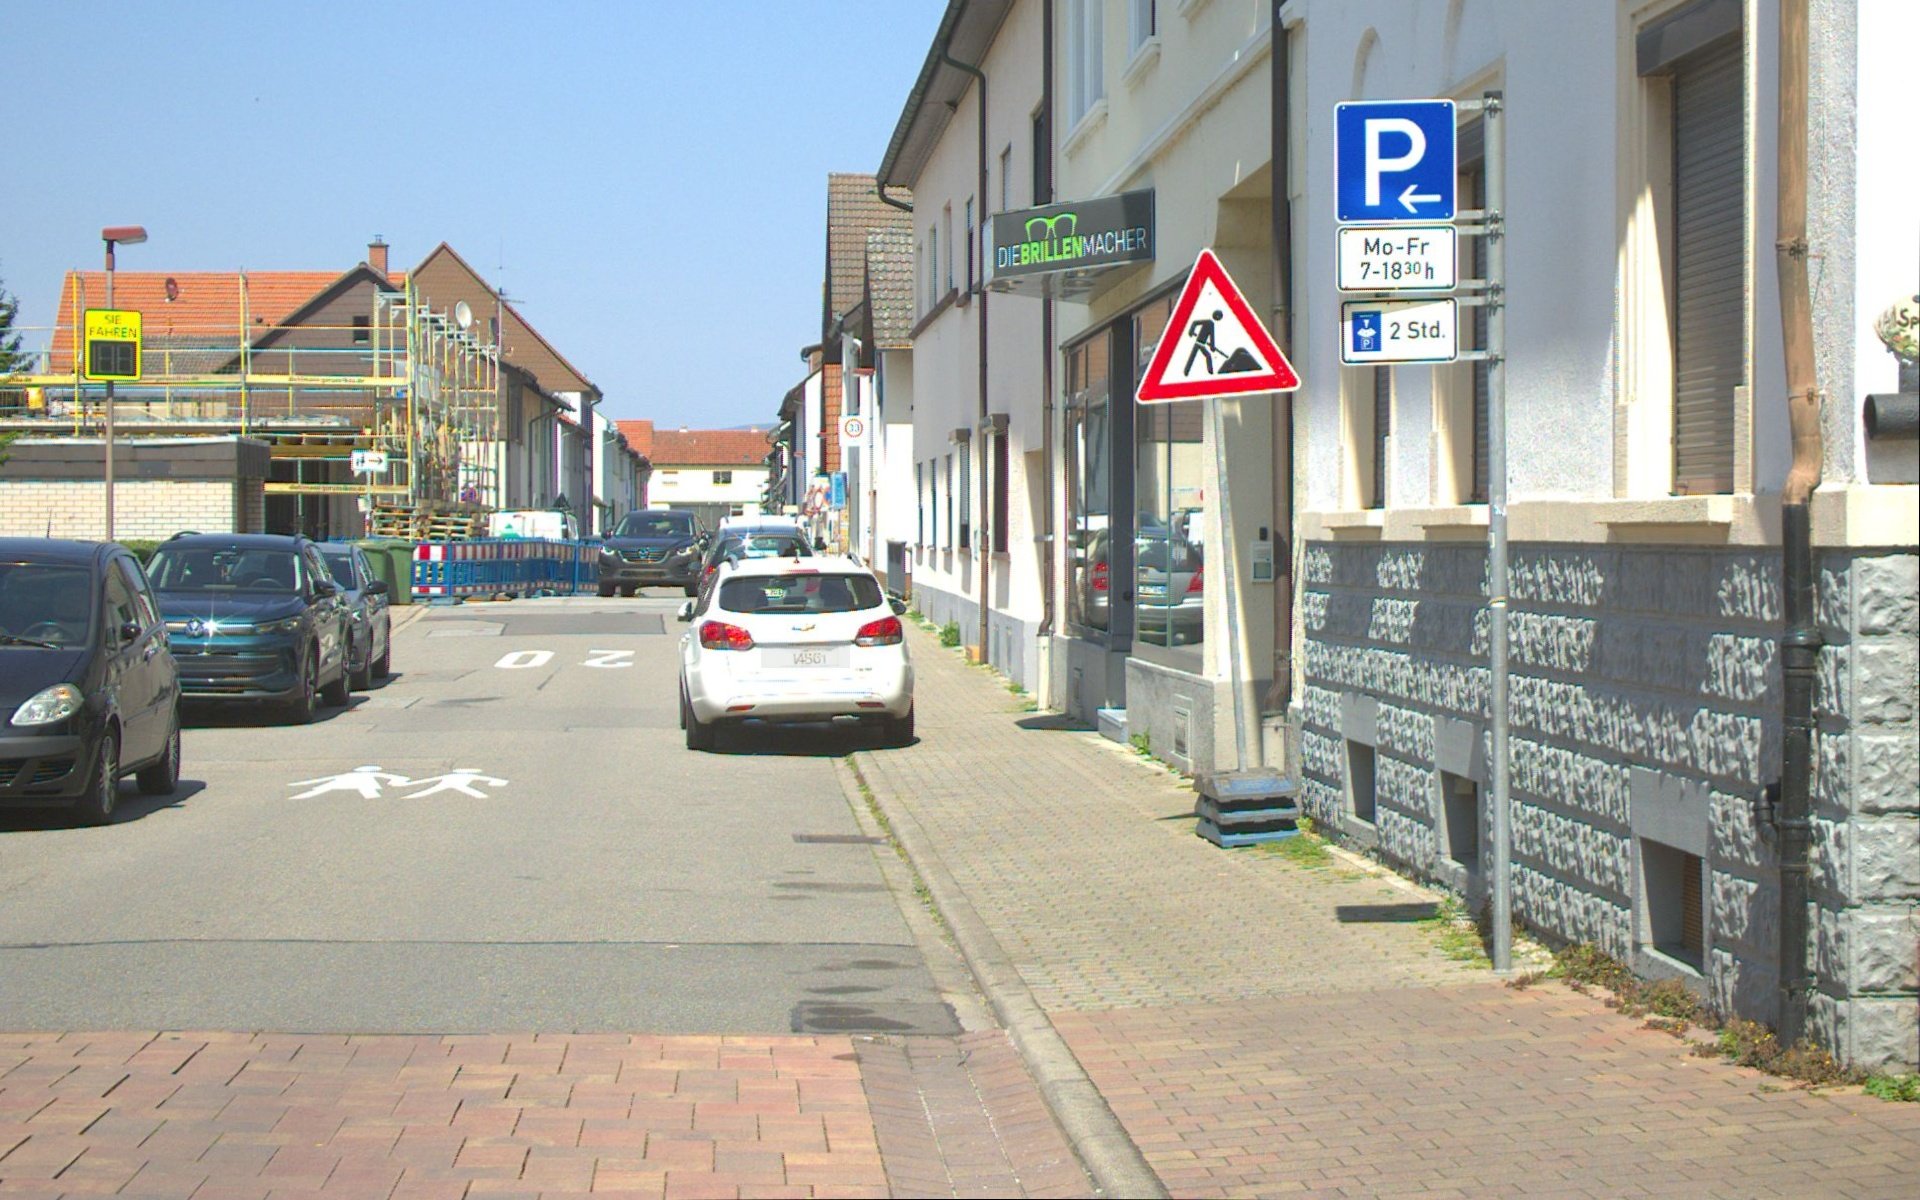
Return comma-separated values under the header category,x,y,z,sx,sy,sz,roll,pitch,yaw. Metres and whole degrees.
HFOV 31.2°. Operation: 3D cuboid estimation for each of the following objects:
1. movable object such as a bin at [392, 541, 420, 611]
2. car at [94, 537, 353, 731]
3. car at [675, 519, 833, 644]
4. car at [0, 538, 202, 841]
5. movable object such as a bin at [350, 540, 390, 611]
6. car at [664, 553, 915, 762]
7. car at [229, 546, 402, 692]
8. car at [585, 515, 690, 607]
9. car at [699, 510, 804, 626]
category,x,y,z,sx,sy,sz,roll,pitch,yaw
movable object such as a bin,-9.098,-0.398,56.444,0.431,1.151,0.364,0,1,-13
car,-6.626,0.251,31.318,1.826,1.625,4.218,0,1,-5
car,-2.905,-0.295,47.783,1.884,1.550,3.895,-4,2,-6
car,-5.660,0.458,20.645,1.637,1.623,3.769,0,2,-4
movable object such as a bin,-9.593,-0.403,55.920,0.621,1.151,0.677,0,1,-11
car,-1.380,0.402,28.067,1.886,1.536,4.243,0,1,-3
car,-6.852,0.163,36.813,1.436,1.469,3.787,0,1,-5
car,-6.027,-0.759,64.297,1.881,1.662,4.154,0,1,-5
car,-3.231,-0.522,52.956,1.564,1.607,3.543,0,3,-4
